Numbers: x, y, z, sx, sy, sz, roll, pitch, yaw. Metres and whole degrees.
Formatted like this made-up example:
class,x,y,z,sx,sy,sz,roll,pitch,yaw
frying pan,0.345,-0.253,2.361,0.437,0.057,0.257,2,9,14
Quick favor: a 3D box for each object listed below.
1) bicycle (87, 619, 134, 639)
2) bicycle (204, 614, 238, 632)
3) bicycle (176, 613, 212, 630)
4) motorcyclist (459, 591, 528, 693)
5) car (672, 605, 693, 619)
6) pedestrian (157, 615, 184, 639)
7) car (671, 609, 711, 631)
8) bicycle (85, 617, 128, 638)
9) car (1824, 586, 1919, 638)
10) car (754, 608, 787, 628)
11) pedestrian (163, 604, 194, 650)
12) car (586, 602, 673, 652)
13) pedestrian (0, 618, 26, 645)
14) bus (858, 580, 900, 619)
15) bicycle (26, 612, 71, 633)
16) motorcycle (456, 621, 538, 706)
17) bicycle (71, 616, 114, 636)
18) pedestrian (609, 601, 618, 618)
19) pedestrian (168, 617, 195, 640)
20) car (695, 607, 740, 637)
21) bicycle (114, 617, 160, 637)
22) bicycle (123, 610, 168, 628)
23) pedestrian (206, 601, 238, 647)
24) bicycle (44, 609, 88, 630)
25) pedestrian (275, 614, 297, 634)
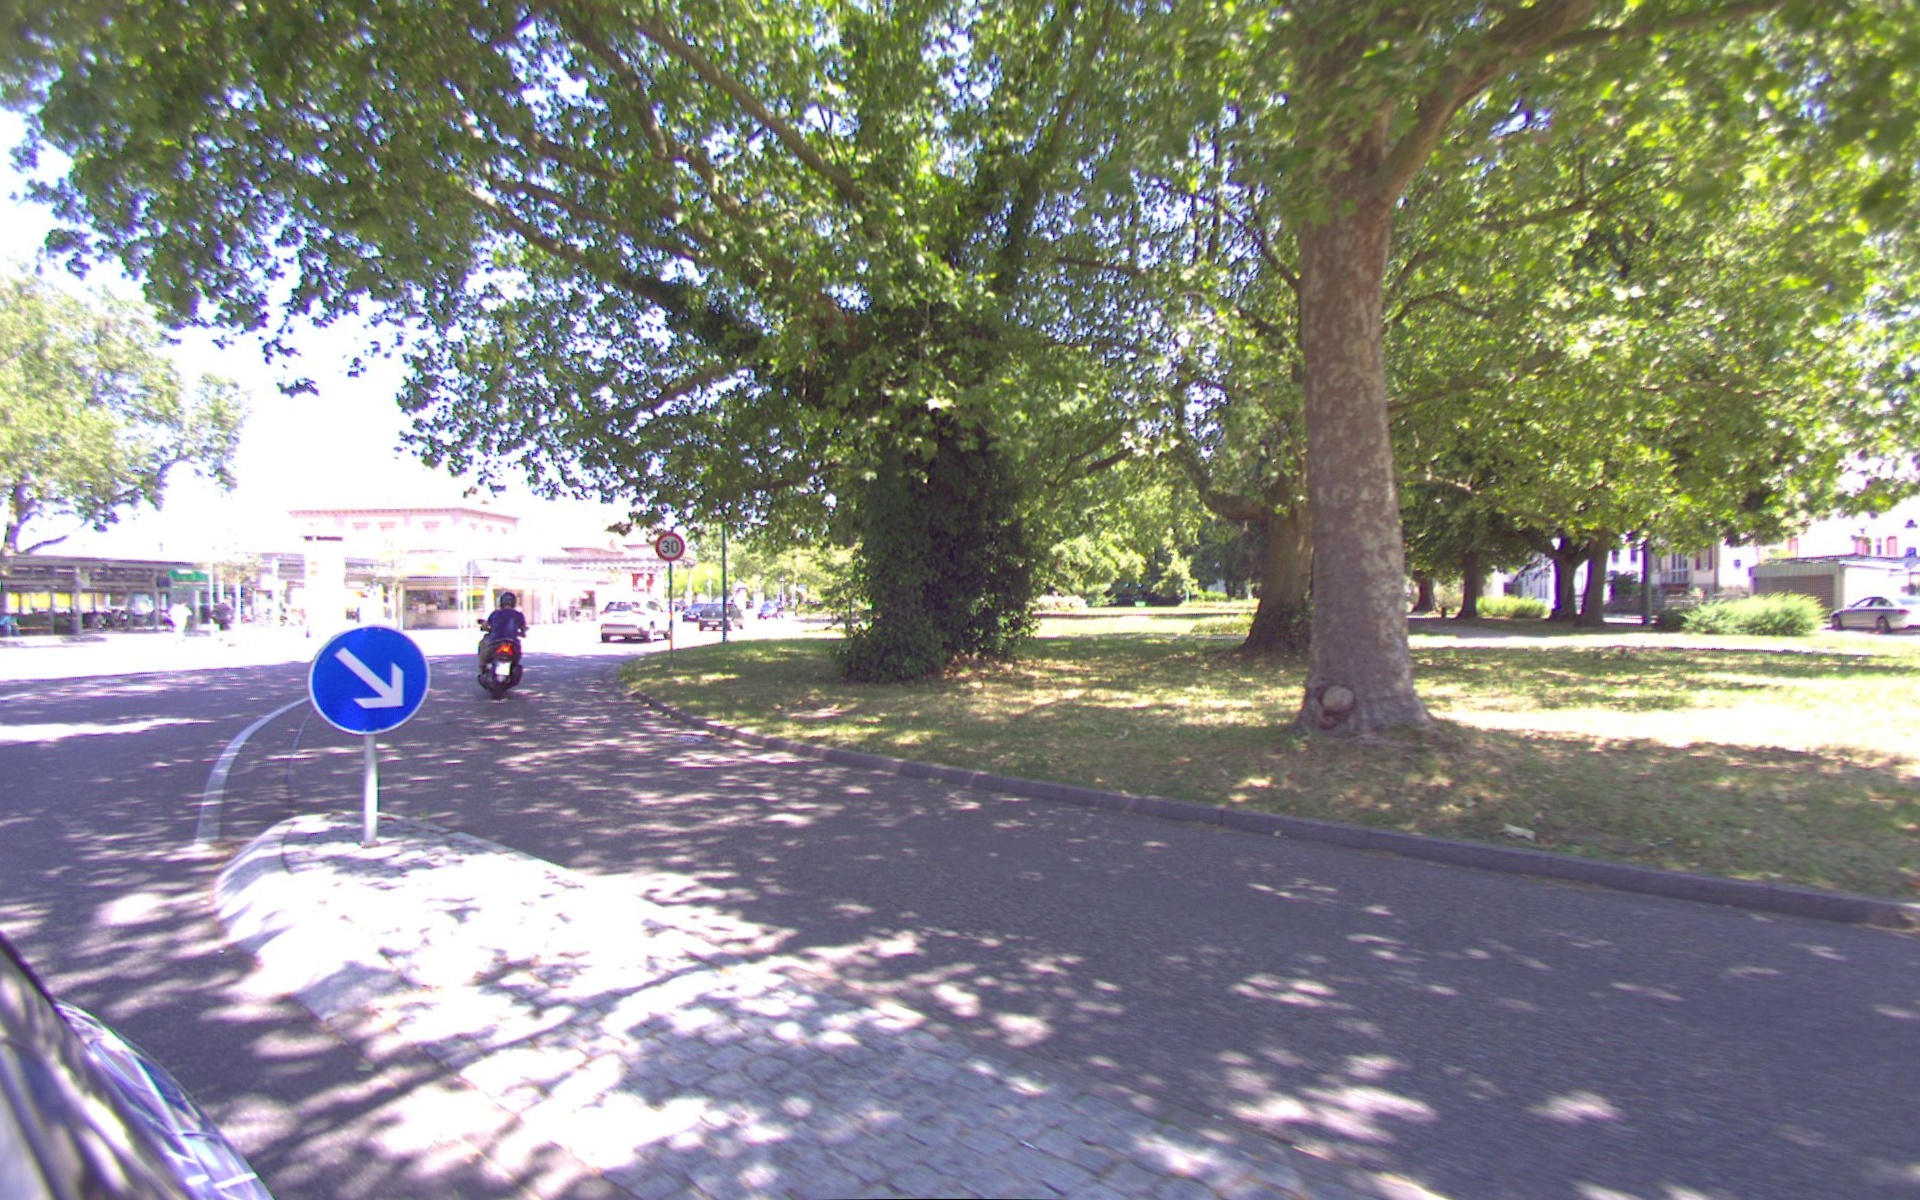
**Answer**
class,x,y,z,sx,sy,sz,roll,pitch,yaw
bicycle,-49.078,1.694,58.469,2.138,1.081,0.671,1,3,-1
bicycle,-52.669,1.638,72.149,0.662,1.081,2.167,1,3,4
bicycle,-54.272,1.515,71.677,2.143,1.081,0.669,1,3,6
motorcyclist,-7.531,0.648,16.315,0.796,1.567,1.107,-1,0,-36
car,-41.060,1.760,149.788,1.973,2.029,3.998,-1,0,1
pedestrian,-46.529,1.570,59.633,0.950,1.396,0.830,-1,0,3
car,-19.813,1.465,74.772,1.755,1.556,4.181,1,0,1
bicycle,-52.145,1.684,61.870,0.662,1.081,2.167,1,3,4
car,34.275,0.381,37.062,1.979,1.792,4.491,-1,0,11
car,-15.172,1.434,81.310,1.755,1.556,4.181,1,0,1
pedestrian,-30.336,1.030,39.276,0.901,1.749,0.677,-1,0,-41
car,-12.453,1.013,38.427,2.019,1.760,4.325,1,-1,-2
pedestrian,-46.665,1.539,49.676,0.819,1.284,0.868,-1,0,-2
bus,-7.348,-0.046,93.362,2.777,3.327,11.855,-1,0,0
bicycle,-55.933,1.384,62.149,0.662,1.081,2.167,1,3,4
motorcycle,-7.436,0.974,16.191,0.796,1.241,2.055,-1,0,-36
bicycle,-53.092,1.582,61.969,0.662,1.081,2.167,1,3,4
pedestrian,-25.206,0.687,73.640,0.496,1.241,0.514,-1,0,-4
pedestrian,-46.566,1.688,60.534,0.950,1.315,0.830,-1,0,3
car,-12.003,1.087,50.315,1.621,1.428,4.005,1,-1,-6
bicycle,-48.992,1.591,60.237,2.138,1.081,0.671,1,3,-1
bicycle,-53.192,1.243,66.129,2.133,1.081,0.866,0,3,-16
pedestrian,-29.389,0.957,40.290,0.695,1.798,0.902,-1,0,43
bicycle,-54.754,1.172,62.012,0.662,1.081,2.167,1,3,4
pedestrian,-46.483,1.646,69.799,0.950,1.315,0.830,-1,0,3
